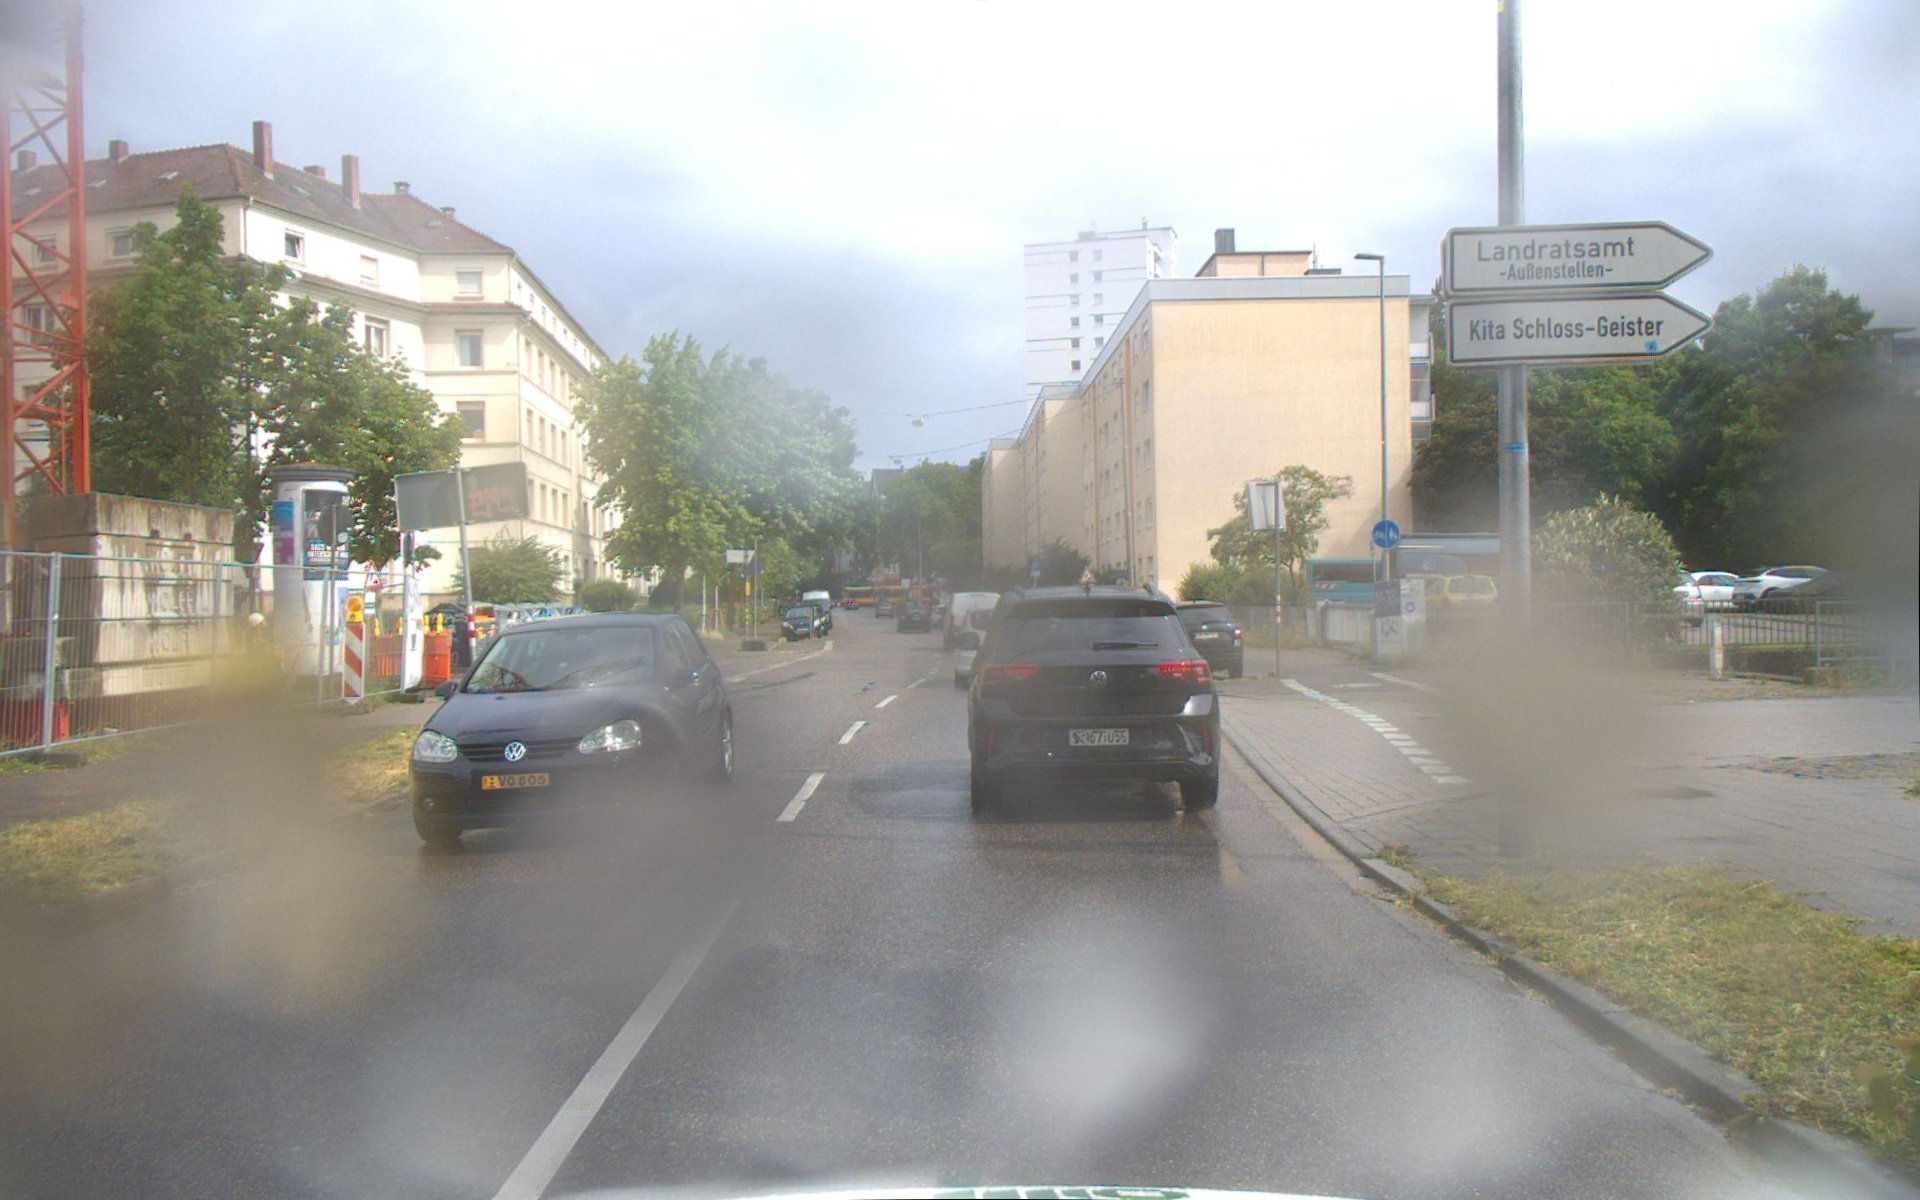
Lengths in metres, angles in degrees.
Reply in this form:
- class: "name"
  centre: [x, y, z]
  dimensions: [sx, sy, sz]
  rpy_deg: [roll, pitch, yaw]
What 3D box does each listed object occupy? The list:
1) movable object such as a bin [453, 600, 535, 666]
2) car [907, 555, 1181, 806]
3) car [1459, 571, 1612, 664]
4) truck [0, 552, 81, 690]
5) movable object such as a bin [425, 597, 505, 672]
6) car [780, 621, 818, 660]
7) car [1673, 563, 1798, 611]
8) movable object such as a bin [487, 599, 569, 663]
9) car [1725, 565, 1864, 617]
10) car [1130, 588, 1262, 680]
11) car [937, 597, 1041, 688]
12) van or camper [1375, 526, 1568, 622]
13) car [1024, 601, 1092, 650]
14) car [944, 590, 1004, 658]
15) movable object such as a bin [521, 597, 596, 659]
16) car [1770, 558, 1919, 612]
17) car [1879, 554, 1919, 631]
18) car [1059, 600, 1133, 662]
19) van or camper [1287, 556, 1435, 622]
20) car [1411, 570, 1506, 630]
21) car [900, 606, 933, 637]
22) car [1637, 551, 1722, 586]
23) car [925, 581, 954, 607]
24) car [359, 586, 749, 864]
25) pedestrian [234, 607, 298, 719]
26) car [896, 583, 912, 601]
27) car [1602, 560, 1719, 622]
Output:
- class: "movable object such as a bin"
  centre: [-12.643, 0.892, 44.944]
  dimensions: [1.505, 1.685, 1.528]
  rpy_deg: [-2, 1, 18]
- class: "car"
  centre: [0.540, 0.568, 13.167]
  dimensions: [1.835, 1.674, 4.061]
  rpy_deg: [0, -1, -1]
- class: "car"
  centre: [11.929, 0.341, 34.567]
  dimensions: [1.766, 1.780, 4.239]
  rpy_deg: [-2, 0, 1]
- class: "truck"
  centre: [-27.077, 0.660, 40.527]
  dimensions: [9.603, 3.240, 3.795]
  rpy_deg: [-2, 0, 13]
- class: "movable object such as a bin"
  centre: [-12.974, 0.897, 43.398]
  dimensions: [1.505, 1.856, 1.264]
  rpy_deg: [-2, 0, 18]
- class: "car"
  centre: [-7.014, 1.735, 72.319]
  dimensions: [1.555, 1.532, 4.060]
  rpy_deg: [-3, 0, -5]
- class: "car"
  centre: [27.240, -0.446, 58.177]
  dimensions: [3.590, 1.512, 1.640]
  rpy_deg: [-2, 0, 2]
- class: "movable object such as a bin"
  centre: [-12.134, 0.857, 46.514]
  dimensions: [1.505, 1.703, 1.666]
  rpy_deg: [-2, 1, 18]
- class: "car"
  centre: [26.615, -0.283, 52.828]
  dimensions: [3.590, 1.512, 1.640]
  rpy_deg: [-2, 0, 2]
- class: "car"
  centre: [4.552, 0.628, 32.499]
  dimensions: [1.739, 1.566, 4.376]
  rpy_deg: [-4, 0, -2]
- class: "car"
  centre: [0.477, 0.756, 30.301]
  dimensions: [1.776, 1.529, 3.999]
  rpy_deg: [1, -1, -1]
- class: "van or camper"
  centre: [14.743, -0.721, 47.903]
  dimensions: [4.895, 2.599, 2.175]
  rpy_deg: [-1, -1, 0]
- class: "car"
  centre: [3.267, 0.850, 55.732]
  dimensions: [1.714, 1.534, 4.108]
  rpy_deg: [-1, -1, -4]
- class: "car"
  centre: [0.418, 0.807, 54.446]
  dimensions: [1.799, 2.140, 3.998]
  rpy_deg: [1, -1, -2]
- class: "movable object such as a bin"
  centre: [-11.654, 0.800, 48.038]
  dimensions: [1.505, 1.691, 1.459]
  rpy_deg: [-2, 1, 18]
- class: "car"
  centre: [27.087, -0.457, 50.448]
  dimensions: [3.892, 1.491, 1.673]
  rpy_deg: [-2, 0, 1]
- class: "car"
  centre: [20.304, -0.181, 32.904]
  dimensions: [1.790, 1.553, 4.425]
  rpy_deg: [-2, 0, 4]
- class: "car"
  centre: [3.571, 0.824, 43.836]
  dimensions: [1.720, 1.554, 4.000]
  rpy_deg: [0, -1, 1]
- class: "van or camper"
  centre: [14.042, -0.399, 58.172]
  dimensions: [4.660, 2.169, 2.322]
  rpy_deg: [-1, 0, 3]
- class: "car"
  centre: [13.237, -0.011, 44.106]
  dimensions: [1.577, 1.474, 3.418]
  rpy_deg: [-2, 0, 2]
- class: "car"
  centre: [-2.390, 1.150, 89.912]
  dimensions: [1.573, 1.536, 3.544]
  rpy_deg: [-3, 0, -4]
- class: "car"
  centre: [32.245, -1.388, 74.174]
  dimensions: [3.158, 1.422, 1.509]
  rpy_deg: [-2, 0, 2]
- class: "car"
  centre: [-1.349, -0.405, 111.490]
  dimensions: [1.803, 1.636, 3.675]
  rpy_deg: [-3, 0, 0]
- class: "car"
  centre: [-2.778, 0.778, 12.278]
  dimensions: [1.803, 1.636, 4.000]
  rpy_deg: [-3, 0, 0]
- class: "pedestrian"
  centre: [-10.498, 0.948, 25.009]
  dimensions: [0.716, 1.658, 0.675]
  rpy_deg: [1, -1, -38]
- class: "car"
  centre: [-5.924, -0.820, 174.641]
  dimensions: [1.632, 1.870, 3.998]
  rpy_deg: [-2, 0, -3]
- class: "car"
  centre: [18.481, -0.241, 43.794]
  dimensions: [1.615, 1.512, 3.719]
  rpy_deg: [-2, 0, 2]
